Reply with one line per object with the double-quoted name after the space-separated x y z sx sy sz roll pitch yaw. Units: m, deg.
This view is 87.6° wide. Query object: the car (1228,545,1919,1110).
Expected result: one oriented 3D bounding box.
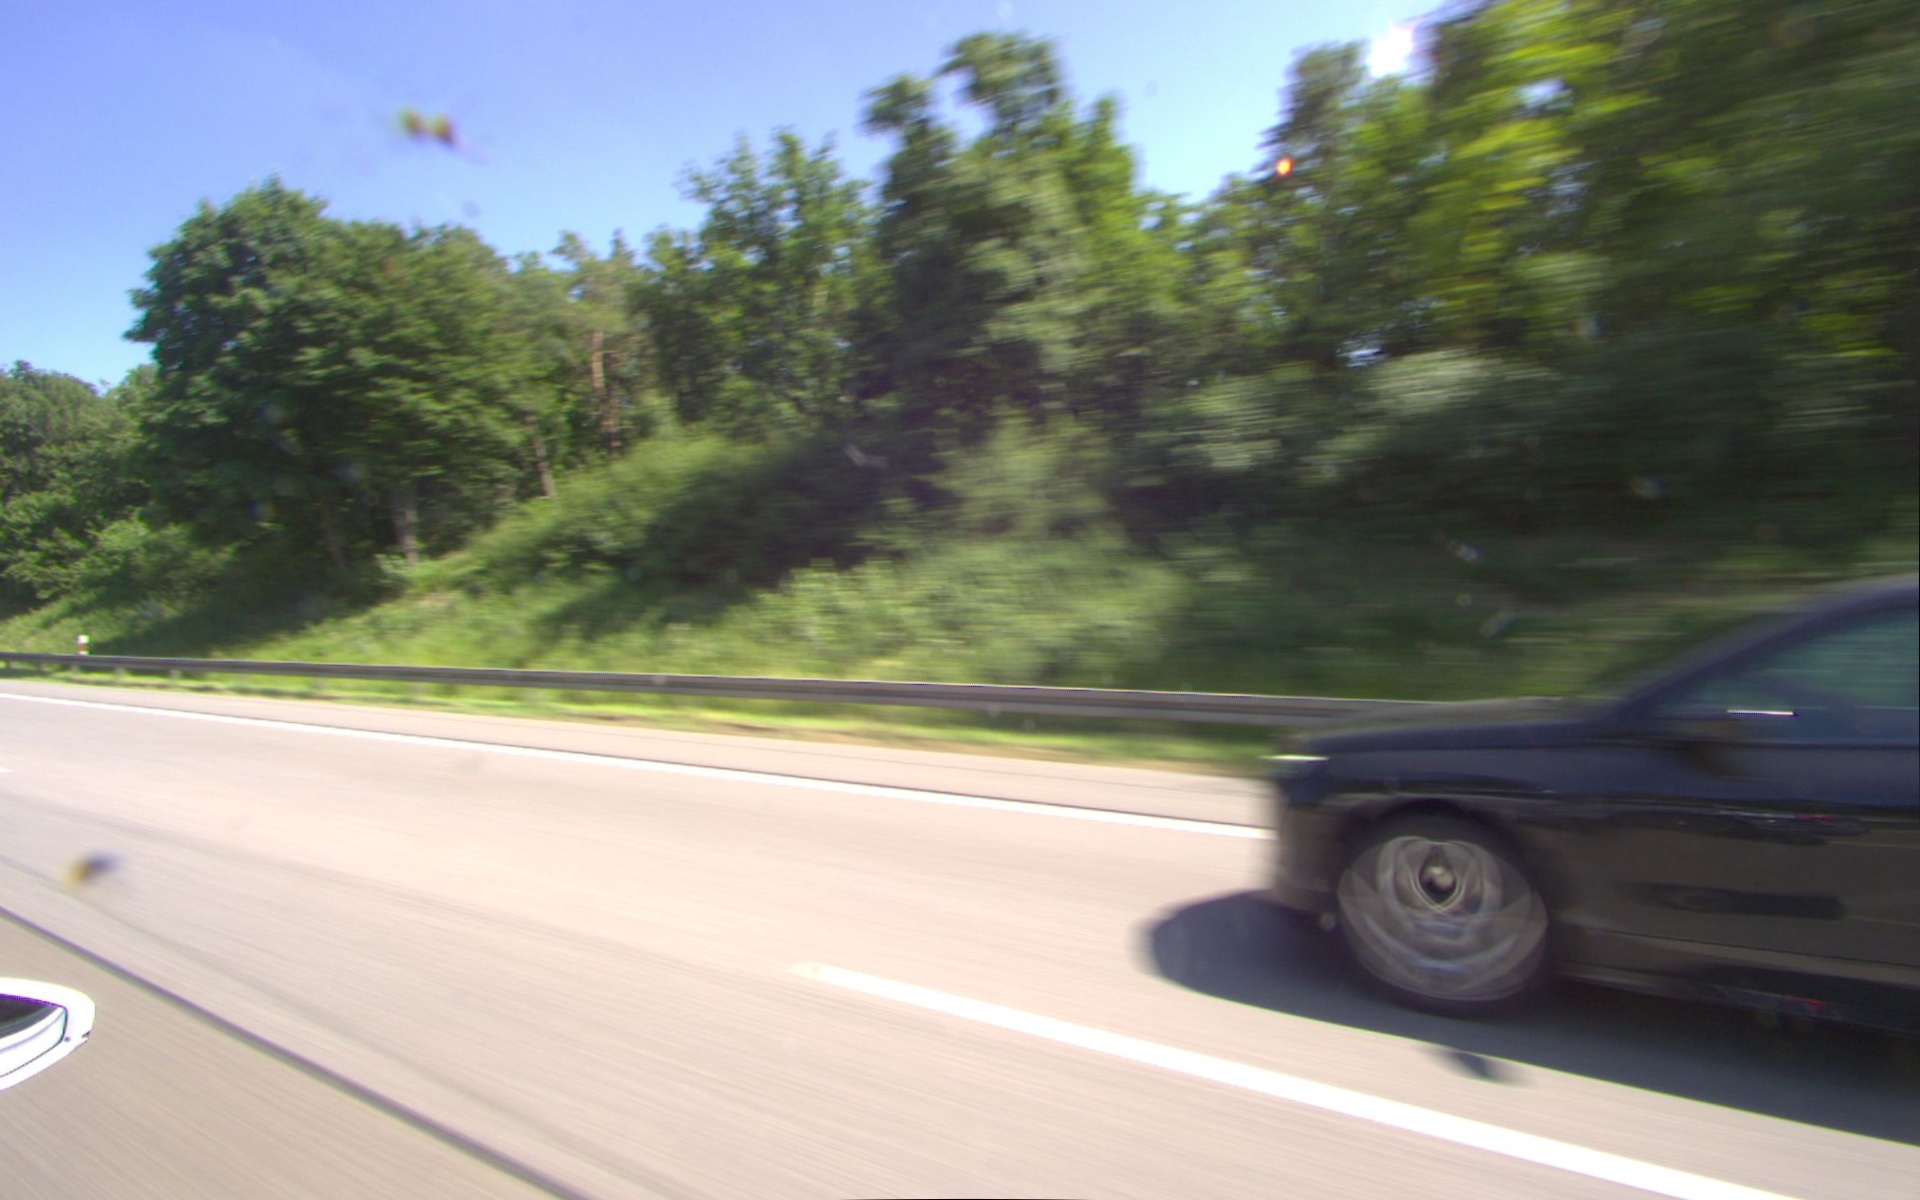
3.558 0.703 3.694 4.622 1.690 1.915 -1 -2 34 "car"
